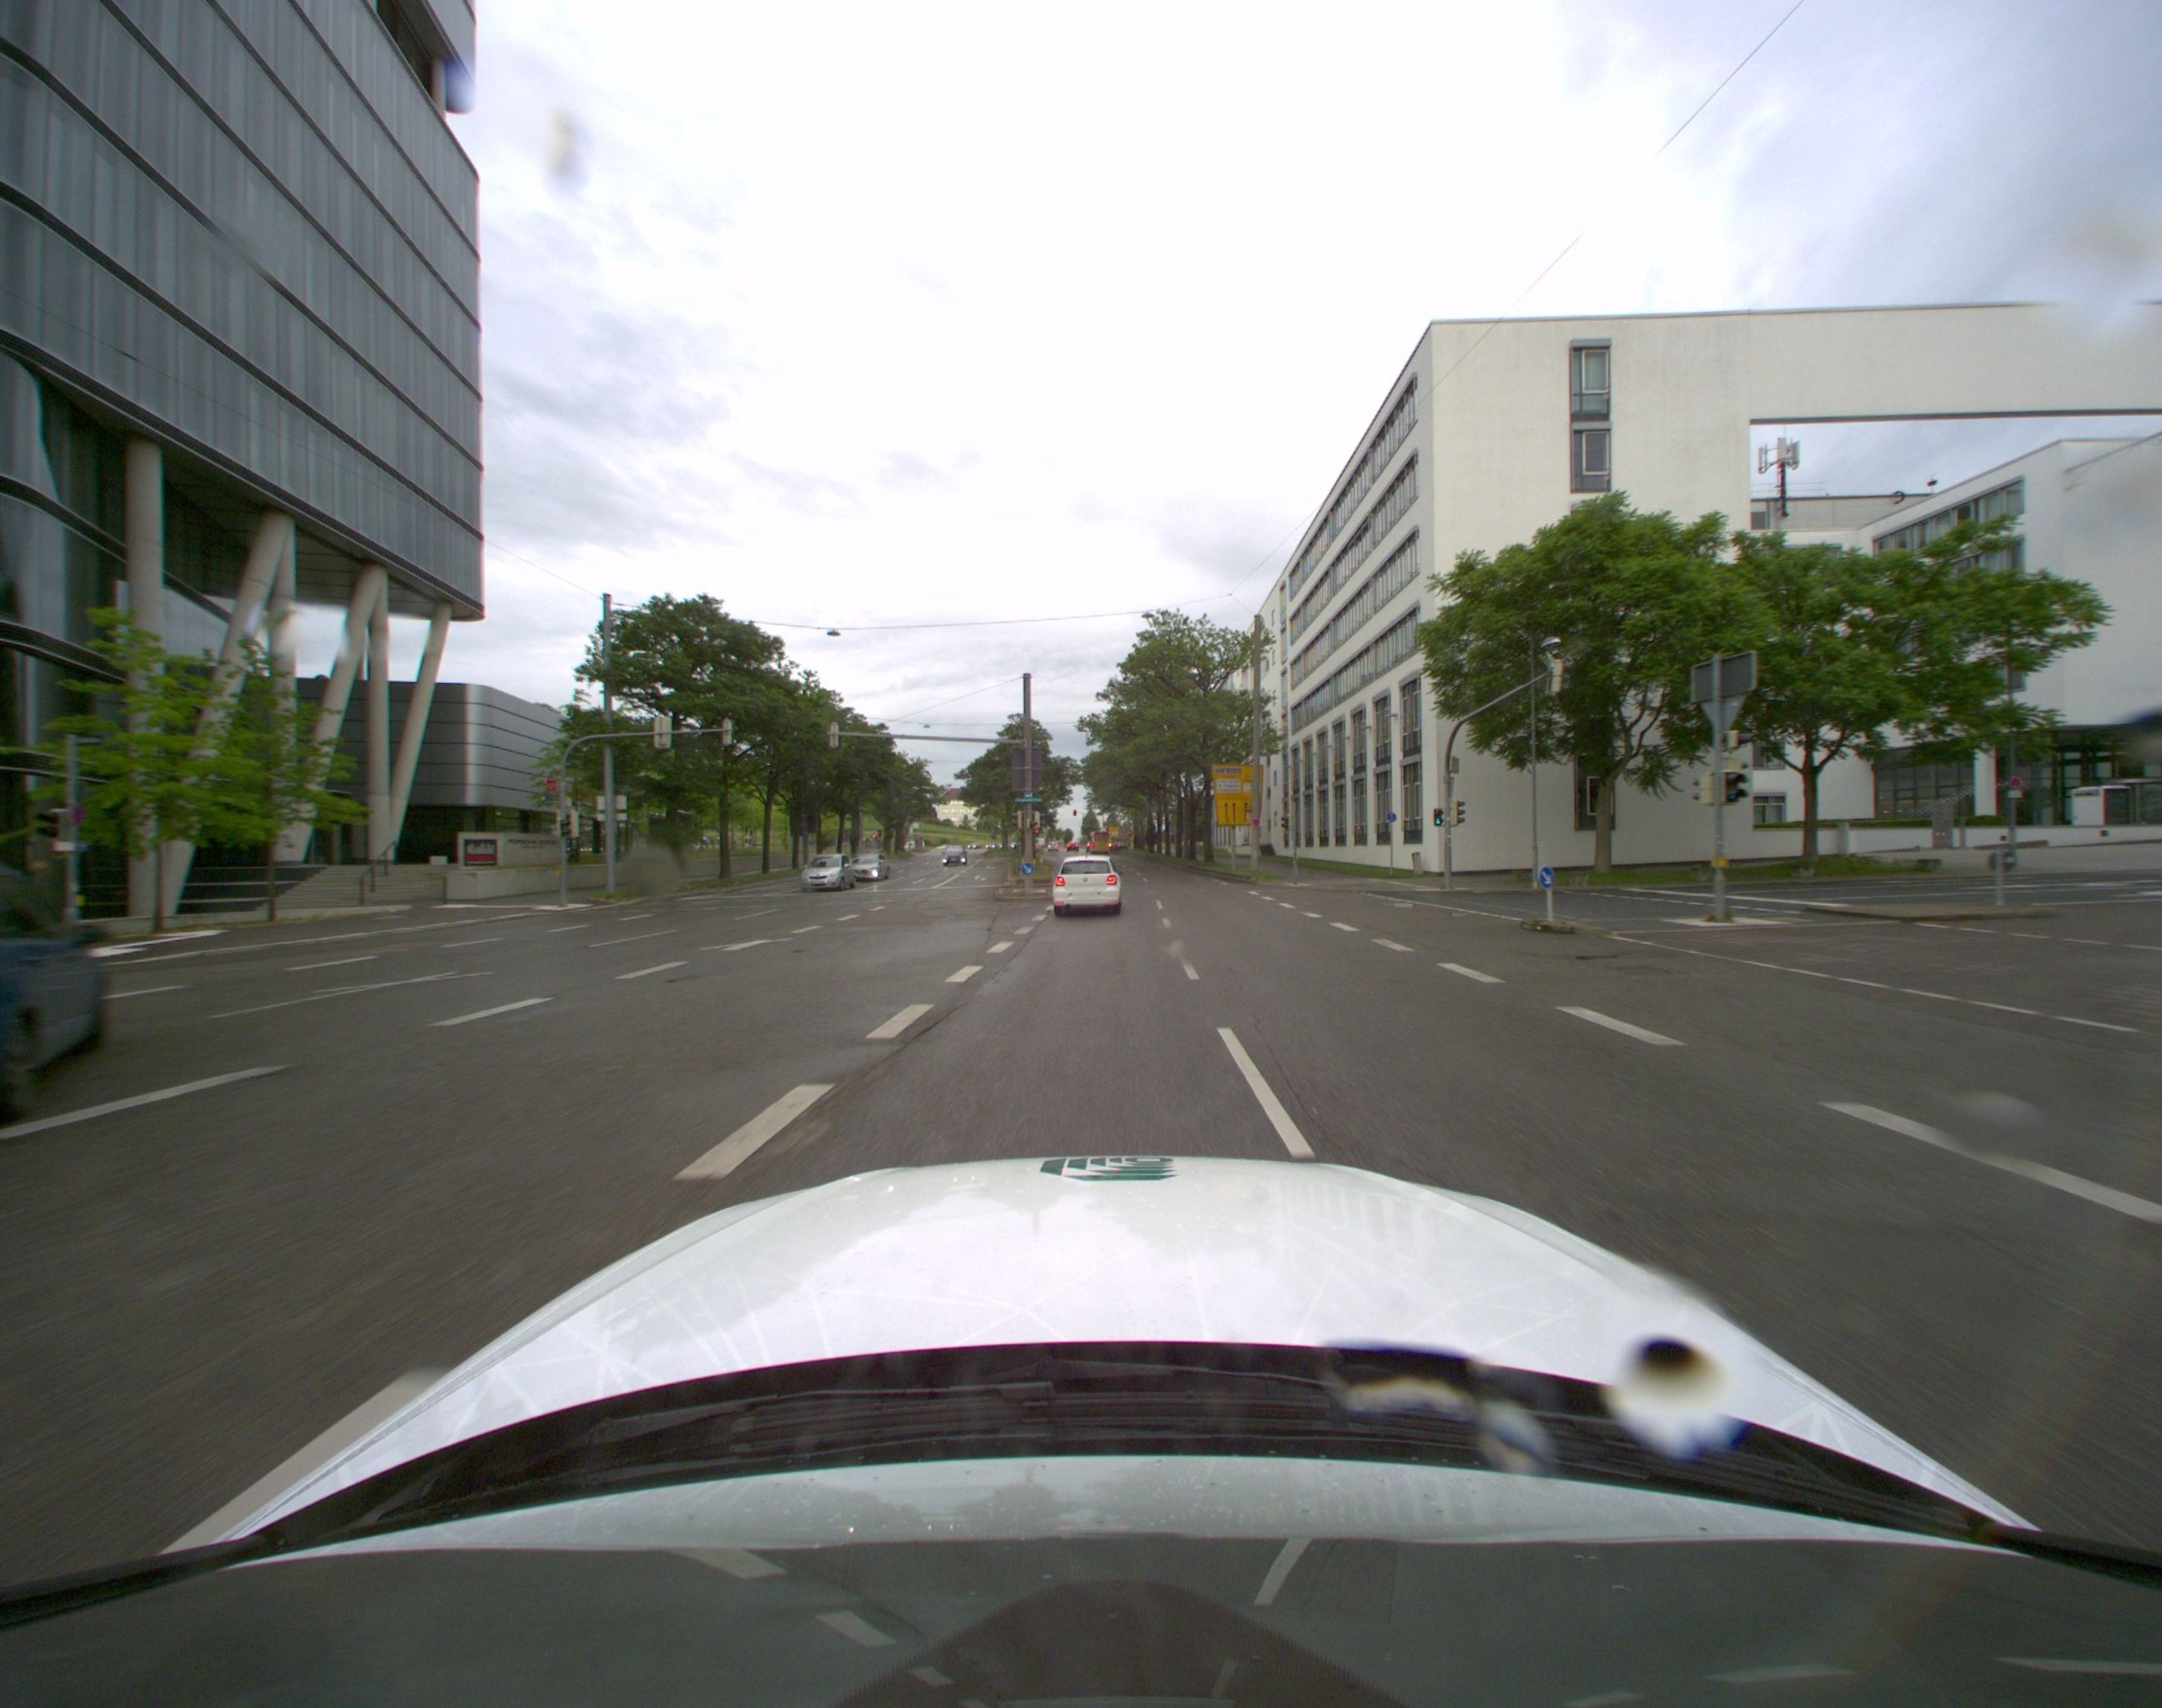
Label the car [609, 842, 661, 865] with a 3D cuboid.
[{"bbox_3d":[-42.175,-0.033,77.175,4.002,2.013,1.986,-2,1,-21],"label":"car"}]

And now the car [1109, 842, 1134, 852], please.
[{"bbox_3d":[6.308,-1.124,126.942,1.679,1.515,3.850,-1,0,44],"label":"car"}]

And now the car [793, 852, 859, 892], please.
[{"bbox_3d":[-10.754,0.713,34.601,1.747,1.520,3.812,-2,1,-4],"label":"car"}]

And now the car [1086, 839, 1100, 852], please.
[{"bbox_3d":[1.831,-1.290,128.339,1.988,2.013,3.998,-1,0,-1],"label":"car"}]

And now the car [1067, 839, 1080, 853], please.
[{"bbox_3d":[-1.243,-1.225,127.240,1.988,2.013,3.998,-1,0,-1],"label":"car"}]

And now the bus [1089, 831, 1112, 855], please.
[{"bbox_3d":[2.738,-1.552,114.740,2.820,3.266,9.996,0,1,-1],"label":"bus"}]

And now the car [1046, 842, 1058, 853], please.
[{"bbox_3d":[-4.566,-1.047,128.805,1.790,1.741,3.997,-2,0,-2],"label":"car"}]

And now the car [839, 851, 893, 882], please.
[{"bbox_3d":[-11.243,0.614,42.913,1.811,1.411,4.649,-3,1,-4],"label":"car"}]

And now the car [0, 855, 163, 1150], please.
[{"bbox_3d":[-7.860,0.862,5.426,1.788,1.596,4.147,-1,0,-41],"label":"car"}]

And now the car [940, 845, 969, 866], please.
[{"bbox_3d":[-10.680,0.075,68.999,1.990,1.615,5.112,-3,1,-5],"label":"car"}]

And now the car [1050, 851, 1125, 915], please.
[{"bbox_3d":[0.159,0.691,21.512,1.788,1.502,4.000,-1,0,0],"label":"car"}]
